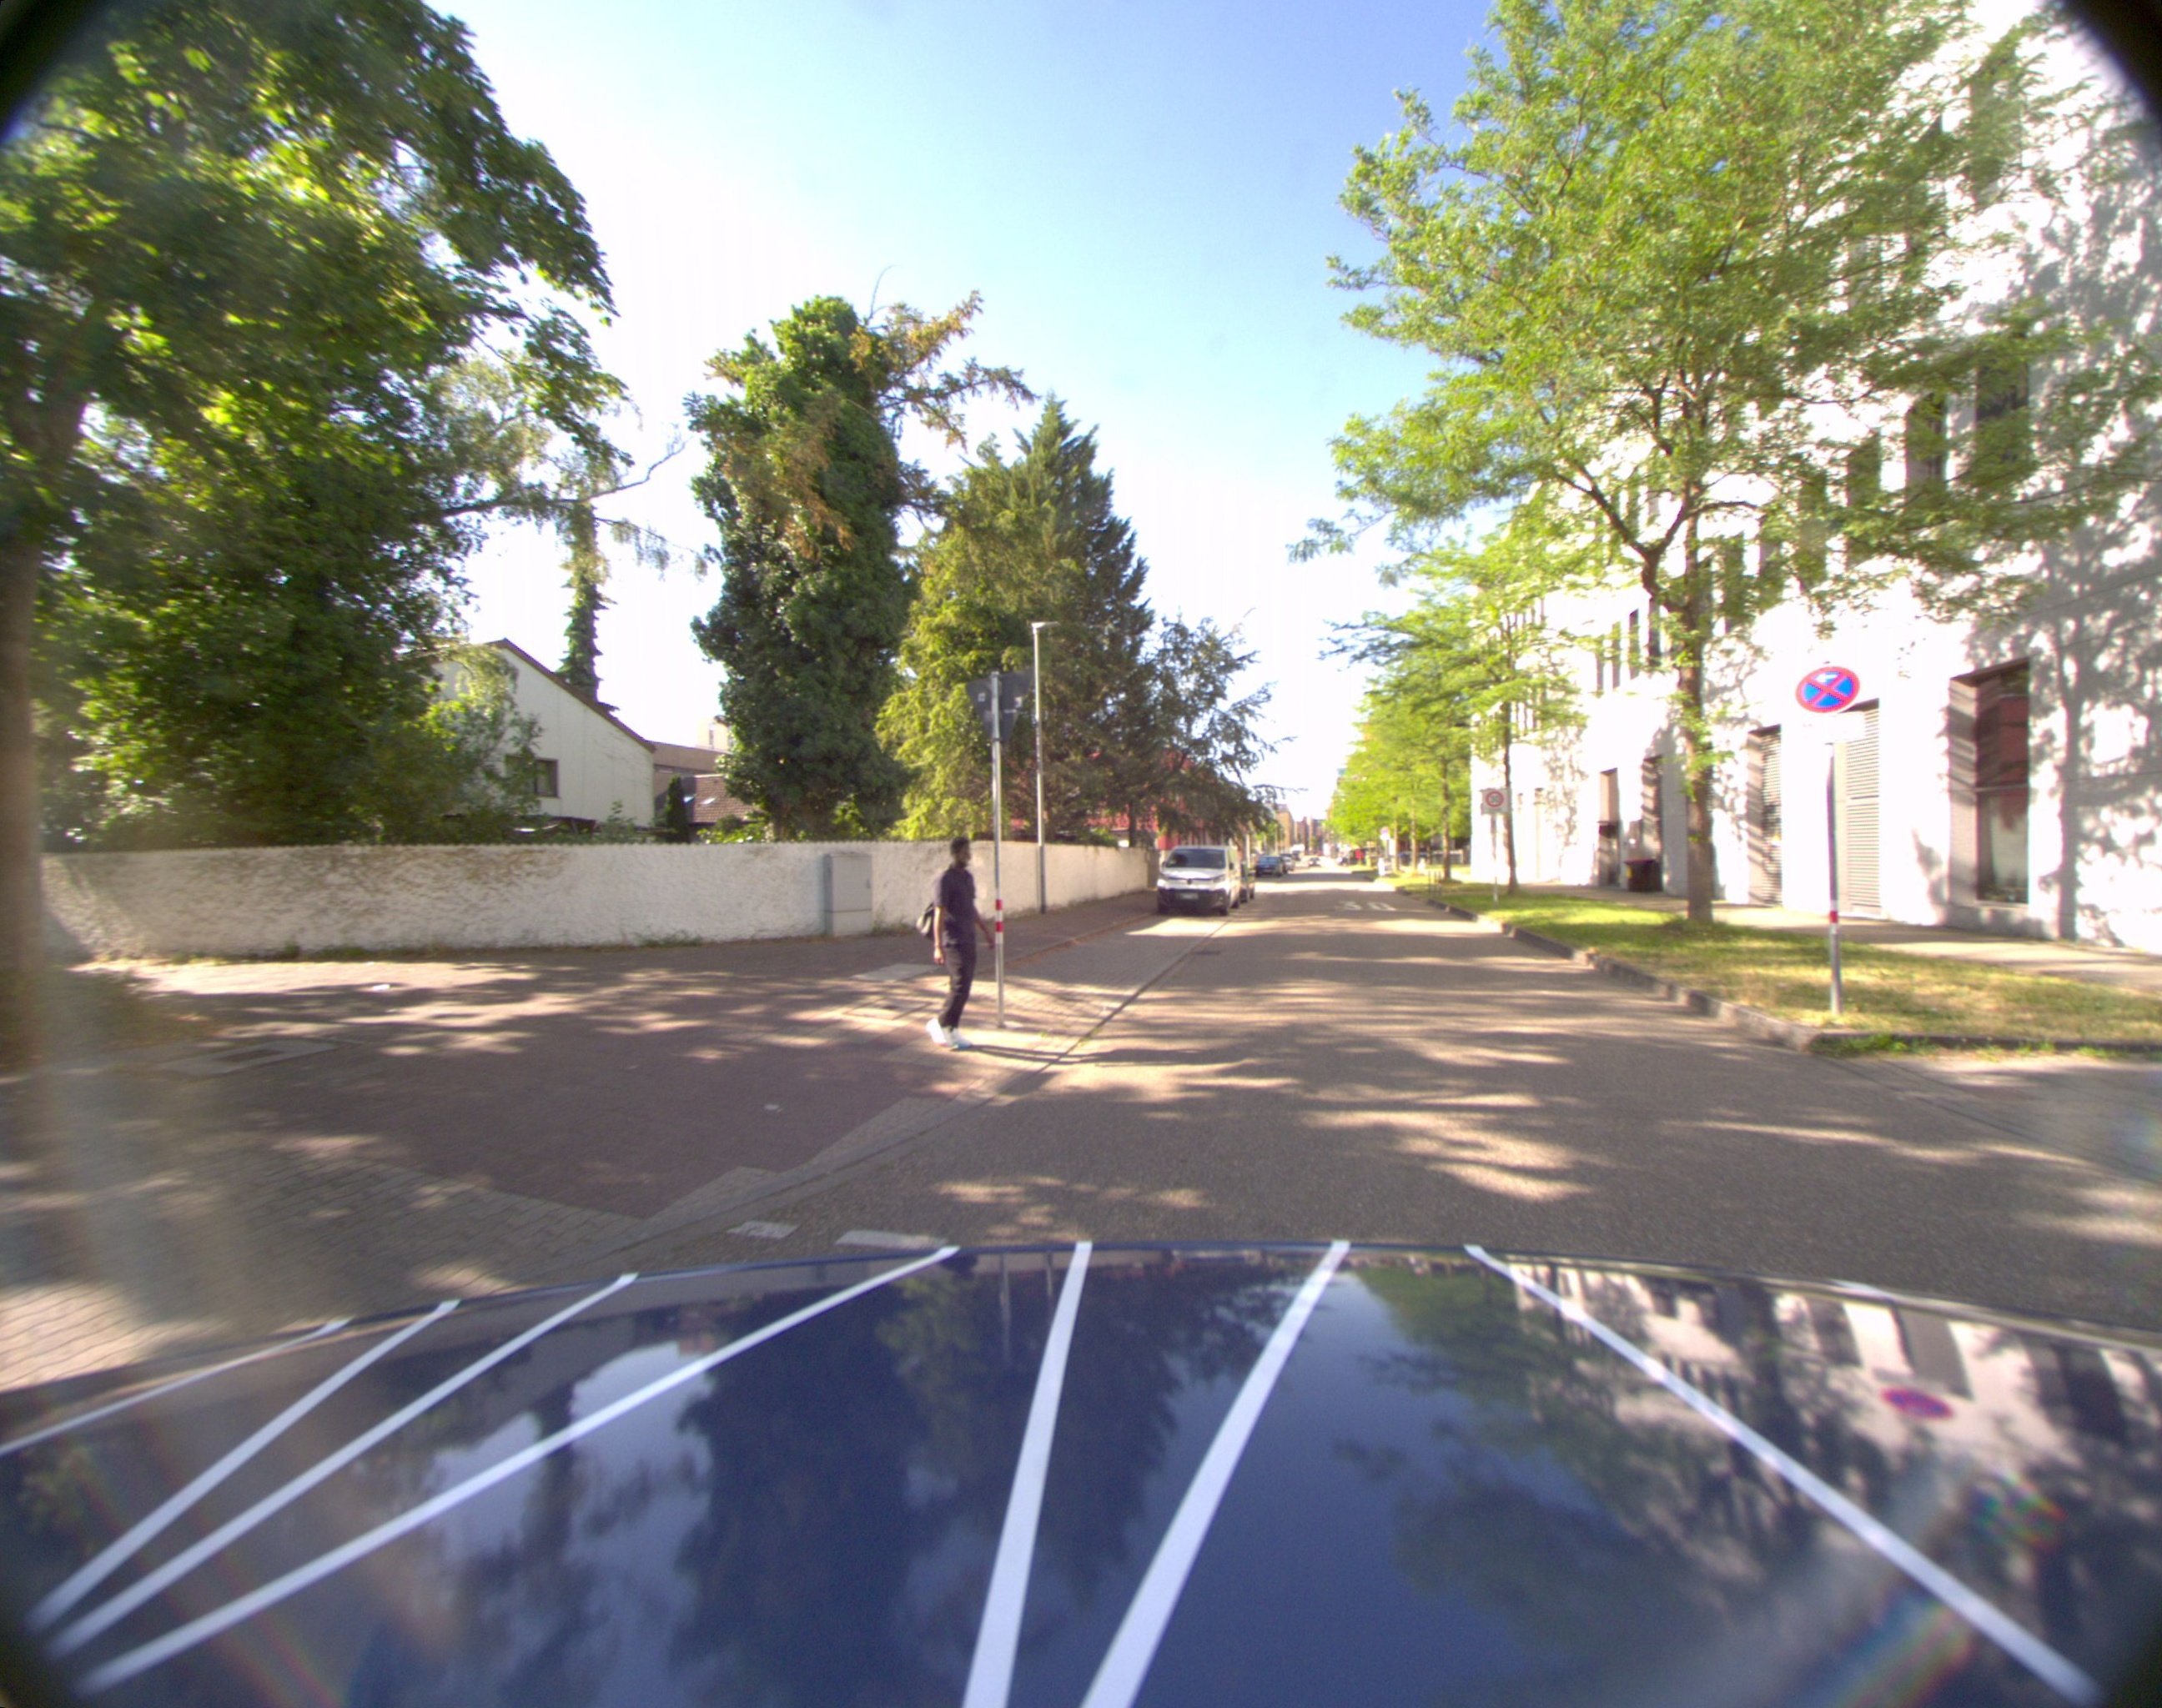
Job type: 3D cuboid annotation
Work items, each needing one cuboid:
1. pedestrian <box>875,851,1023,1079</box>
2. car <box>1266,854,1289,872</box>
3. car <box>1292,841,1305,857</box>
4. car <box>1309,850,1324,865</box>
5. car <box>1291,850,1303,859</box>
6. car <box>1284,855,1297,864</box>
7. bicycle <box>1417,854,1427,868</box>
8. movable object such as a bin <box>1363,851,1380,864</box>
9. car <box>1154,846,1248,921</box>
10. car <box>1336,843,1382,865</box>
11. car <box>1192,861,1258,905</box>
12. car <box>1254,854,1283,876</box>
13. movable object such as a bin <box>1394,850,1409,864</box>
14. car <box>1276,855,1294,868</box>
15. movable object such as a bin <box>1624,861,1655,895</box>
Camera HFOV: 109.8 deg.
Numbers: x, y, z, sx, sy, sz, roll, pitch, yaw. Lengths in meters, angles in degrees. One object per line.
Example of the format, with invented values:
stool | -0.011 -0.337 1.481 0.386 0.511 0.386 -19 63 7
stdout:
pedestrian | -1.054 0.826 6.148 0.805 1.674 0.840 -1 0 30
car | 18.116 0.809 69.937 1.876 1.620 4.412 0 0 18
car | 56.177 -1.243 196.402 2.909 3.920 6.334 0 0 19
car | 32.402 0.439 104.455 1.900 1.974 4.378 0 0 18
car | 39.509 0.007 138.970 1.900 1.585 4.378 0 0 18
car | 31.425 0.828 113.948 1.774 1.281 4.101 0 0 18
bicycle | 31.692 0.645 70.589 0.601 1.185 1.730 -2 0 18
movable object such as a bin | 34.551 0.411 90.348 1.522 1.559 1.347 -2 0 7
car | 3.594 0.737 21.918 1.900 1.903 5.154 0 0 18
car | 36.320 0.031 99.479 5.483 2.526 1.989 -3 0 16
car | 5.322 0.991 27.665 1.828 1.415 4.288 0 0 18
car | 14.611 0.833 58.935 1.900 1.620 4.378 0 0 18
movable object such as a bin | 35.235 0.327 83.532 1.521 1.559 1.349 -2 0 22
car | 22.362 0.805 83.082 1.697 1.448 3.895 0 0 18
movable object such as a bin | 17.540 0.737 23.863 0.594 1.034 0.544 -2 0 15
